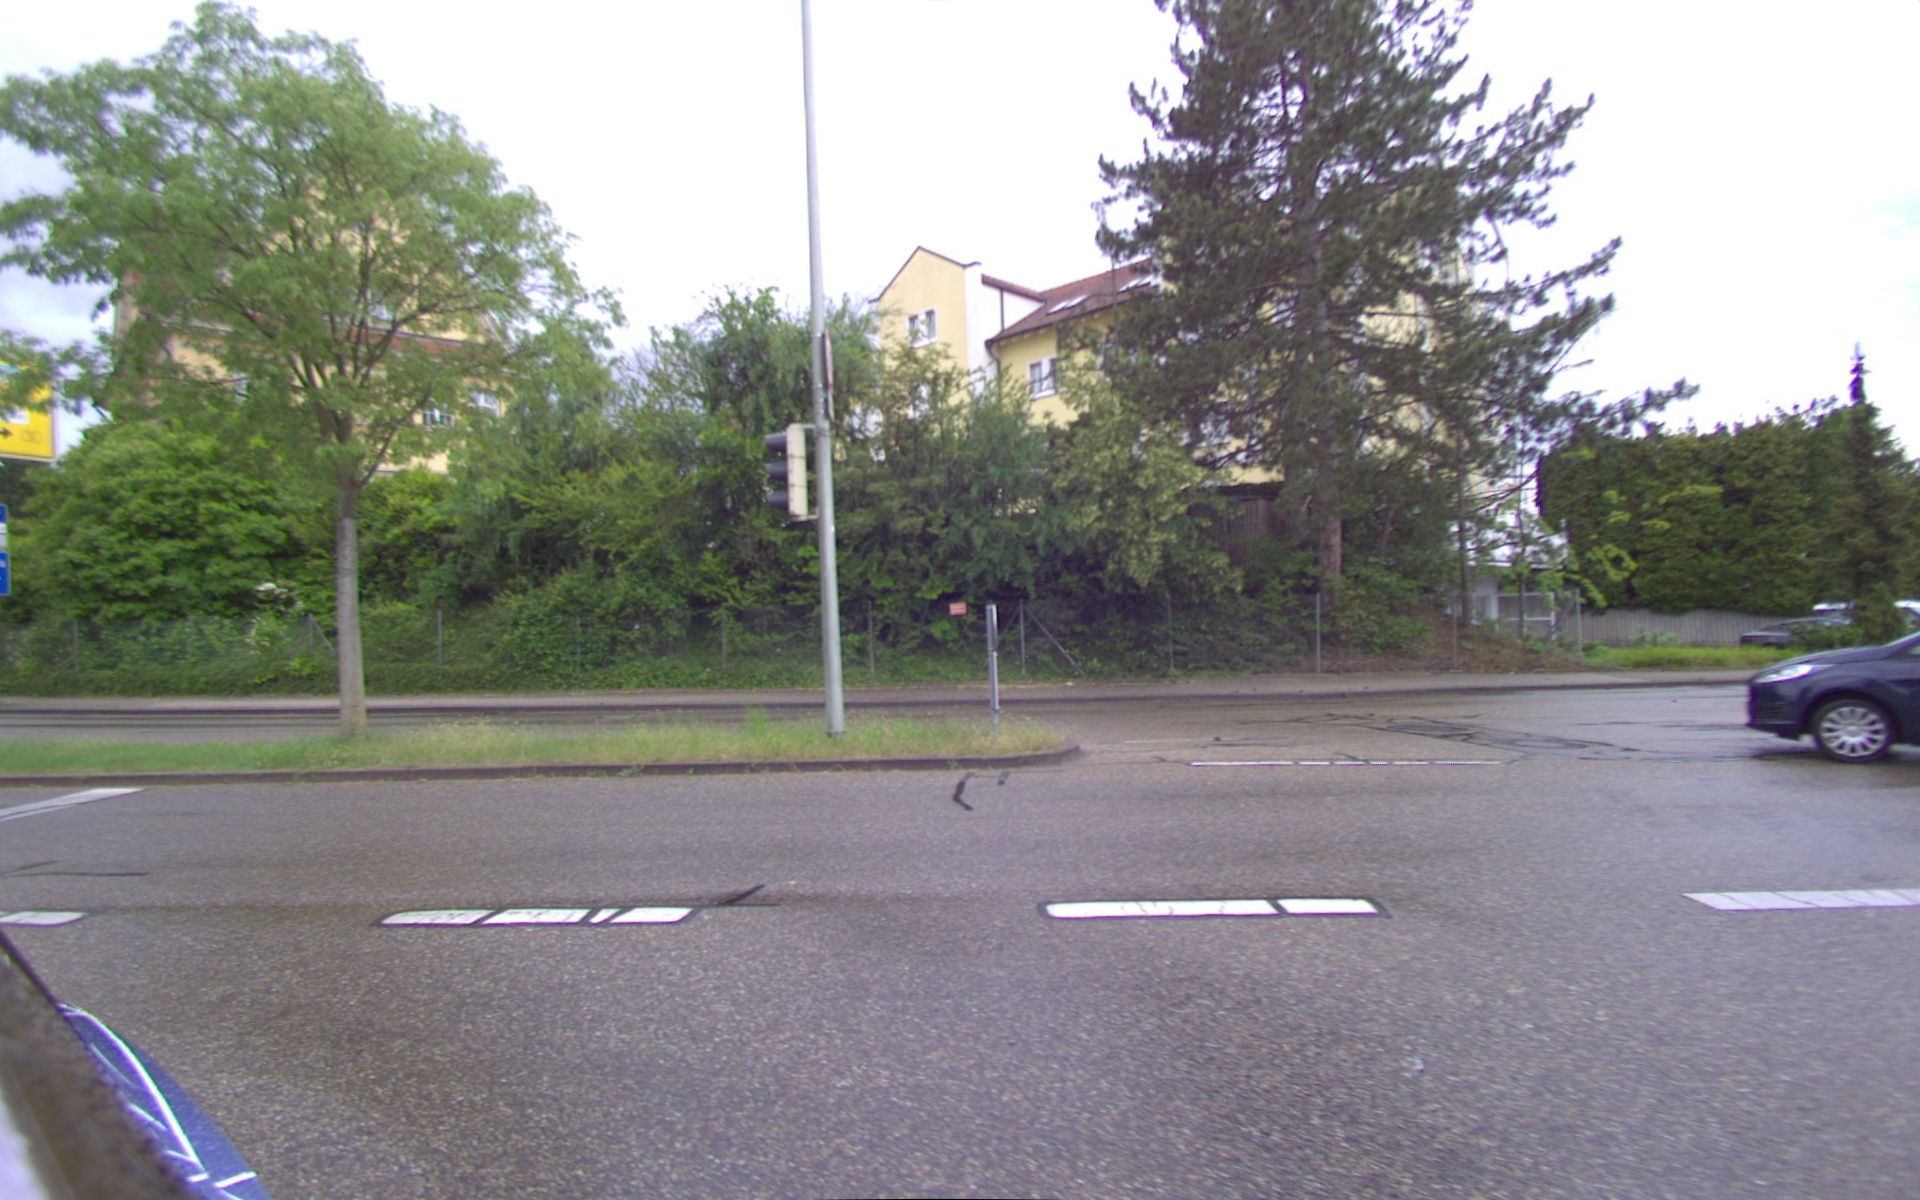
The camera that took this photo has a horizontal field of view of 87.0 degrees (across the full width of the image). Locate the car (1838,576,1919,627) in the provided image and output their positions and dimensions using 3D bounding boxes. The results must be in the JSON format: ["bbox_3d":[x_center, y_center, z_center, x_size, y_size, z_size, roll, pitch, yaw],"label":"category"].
[{"bbox_3d":[28.900,0.017,29.922,1.703,1.404,4.013,-5,1,-25],"label":"car"}]

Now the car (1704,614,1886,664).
[{"bbox_3d":[23.621,1.068,28.766,1.624,1.251,3.599,-2,0,-23],"label":"car"}]

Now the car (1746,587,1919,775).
[{"bbox_3d":[9.086,0.640,8.198,1.896,1.512,4.005,-2,0,-41],"label":"car"}]

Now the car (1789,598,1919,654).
[{"bbox_3d":[26.689,0.727,29.013,1.965,1.475,4.013,-2,0,-23],"label":"car"}]
